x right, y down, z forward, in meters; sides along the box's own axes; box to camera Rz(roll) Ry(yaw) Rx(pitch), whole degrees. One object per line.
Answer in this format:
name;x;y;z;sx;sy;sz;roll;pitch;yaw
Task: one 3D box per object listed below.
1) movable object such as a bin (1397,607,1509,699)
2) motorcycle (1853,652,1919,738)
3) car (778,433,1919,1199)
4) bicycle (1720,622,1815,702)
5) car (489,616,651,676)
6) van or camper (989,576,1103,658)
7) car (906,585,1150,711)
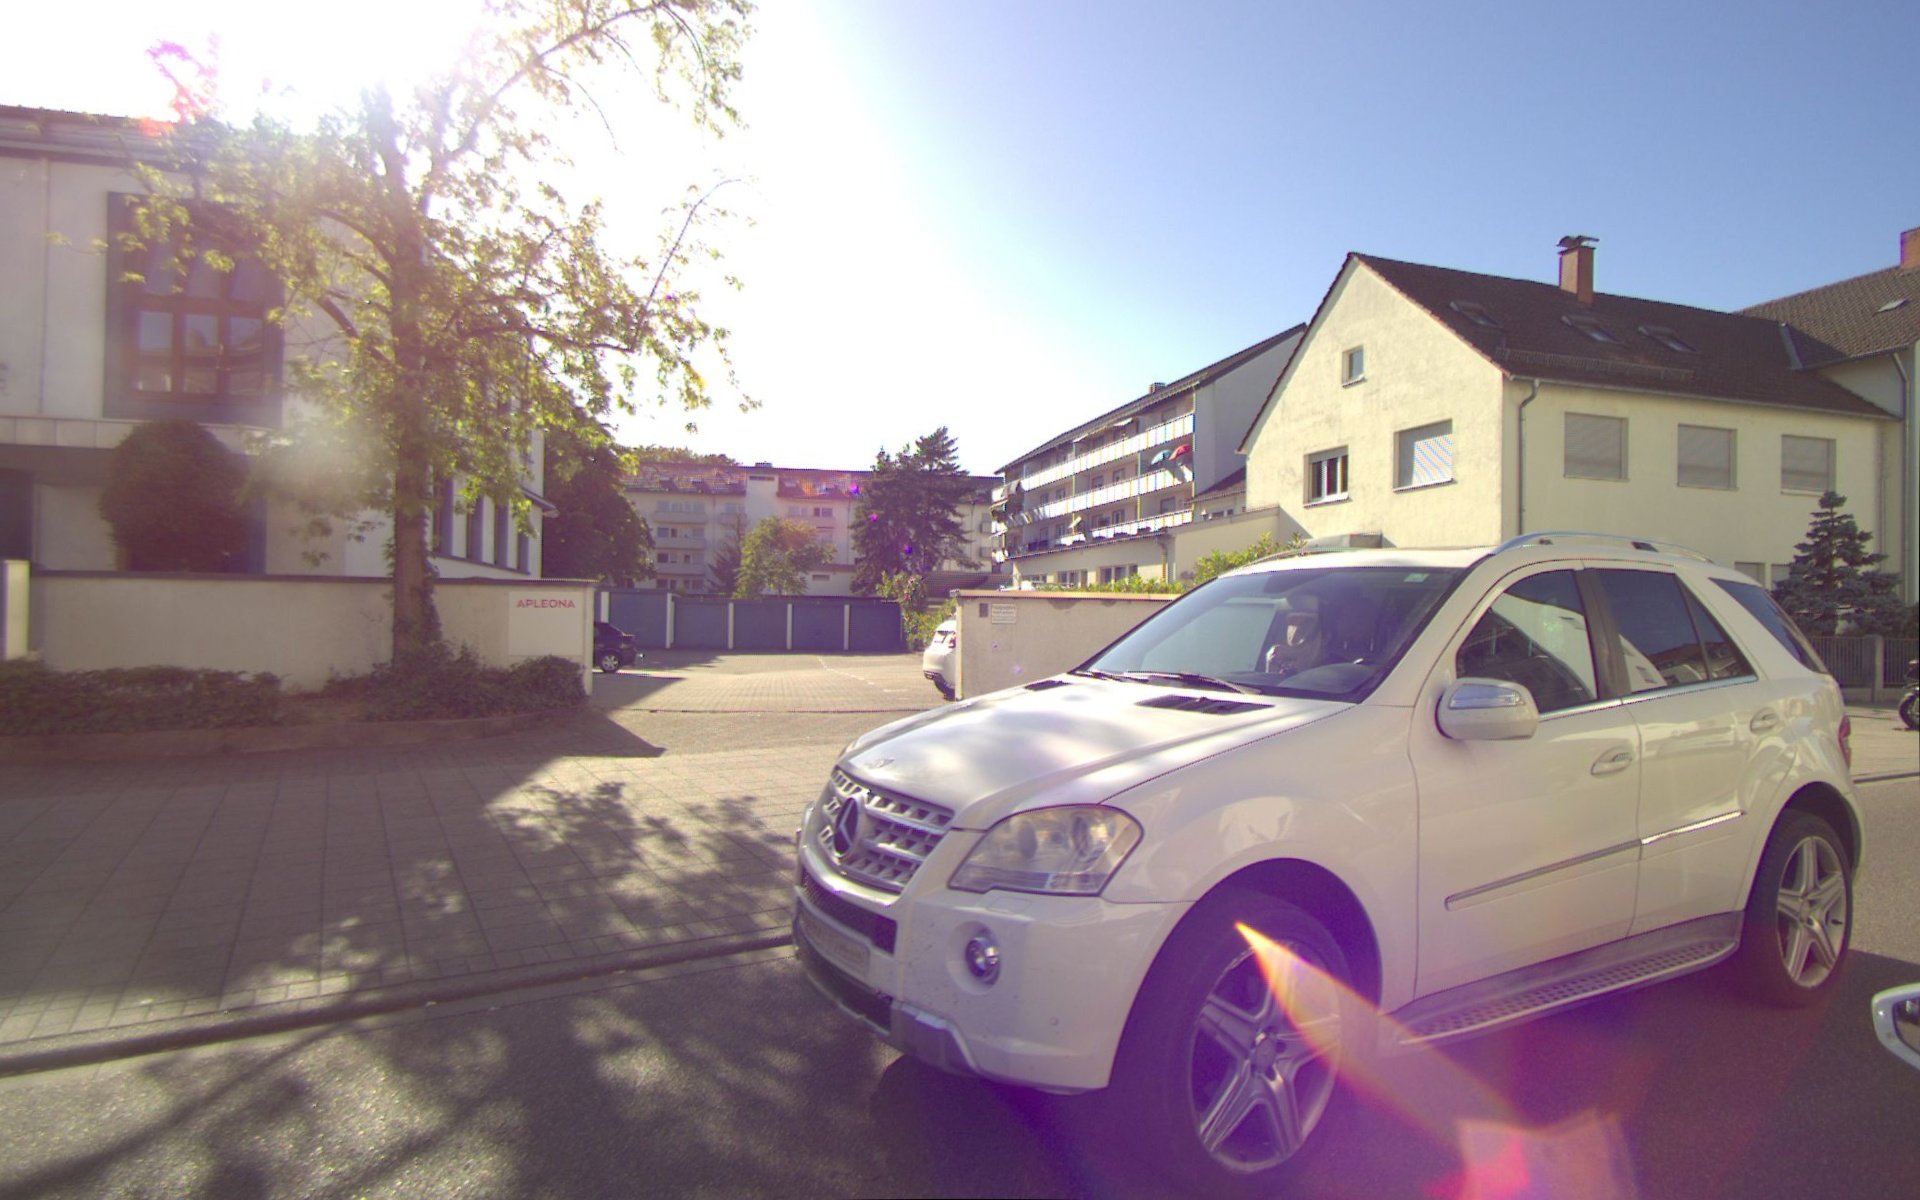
movable object such as a bin;8.697;0.930;17.758;1.209;1.509;1.281;4;-2;-20
motorcycle;12.911;1.273;12.858;0.930;1.033;2.059;0;2;-10
car;1.721;0.614;4.082;4.463;1.809;1.981;1;-2;-29
bicycle;13.789;1.069;17.138;1.902;1.266;0.455;4;-2;-25
car;-10.697;1.263;27.607;3.946;1.416;1.988;4;-2;-24
van or camper;2.720;0.621;33.151;2.114;2.429;5.221;2;-3;-14
car;0.934;0.708;14.696;3.134;1.576;1.802;3;-2;-13
